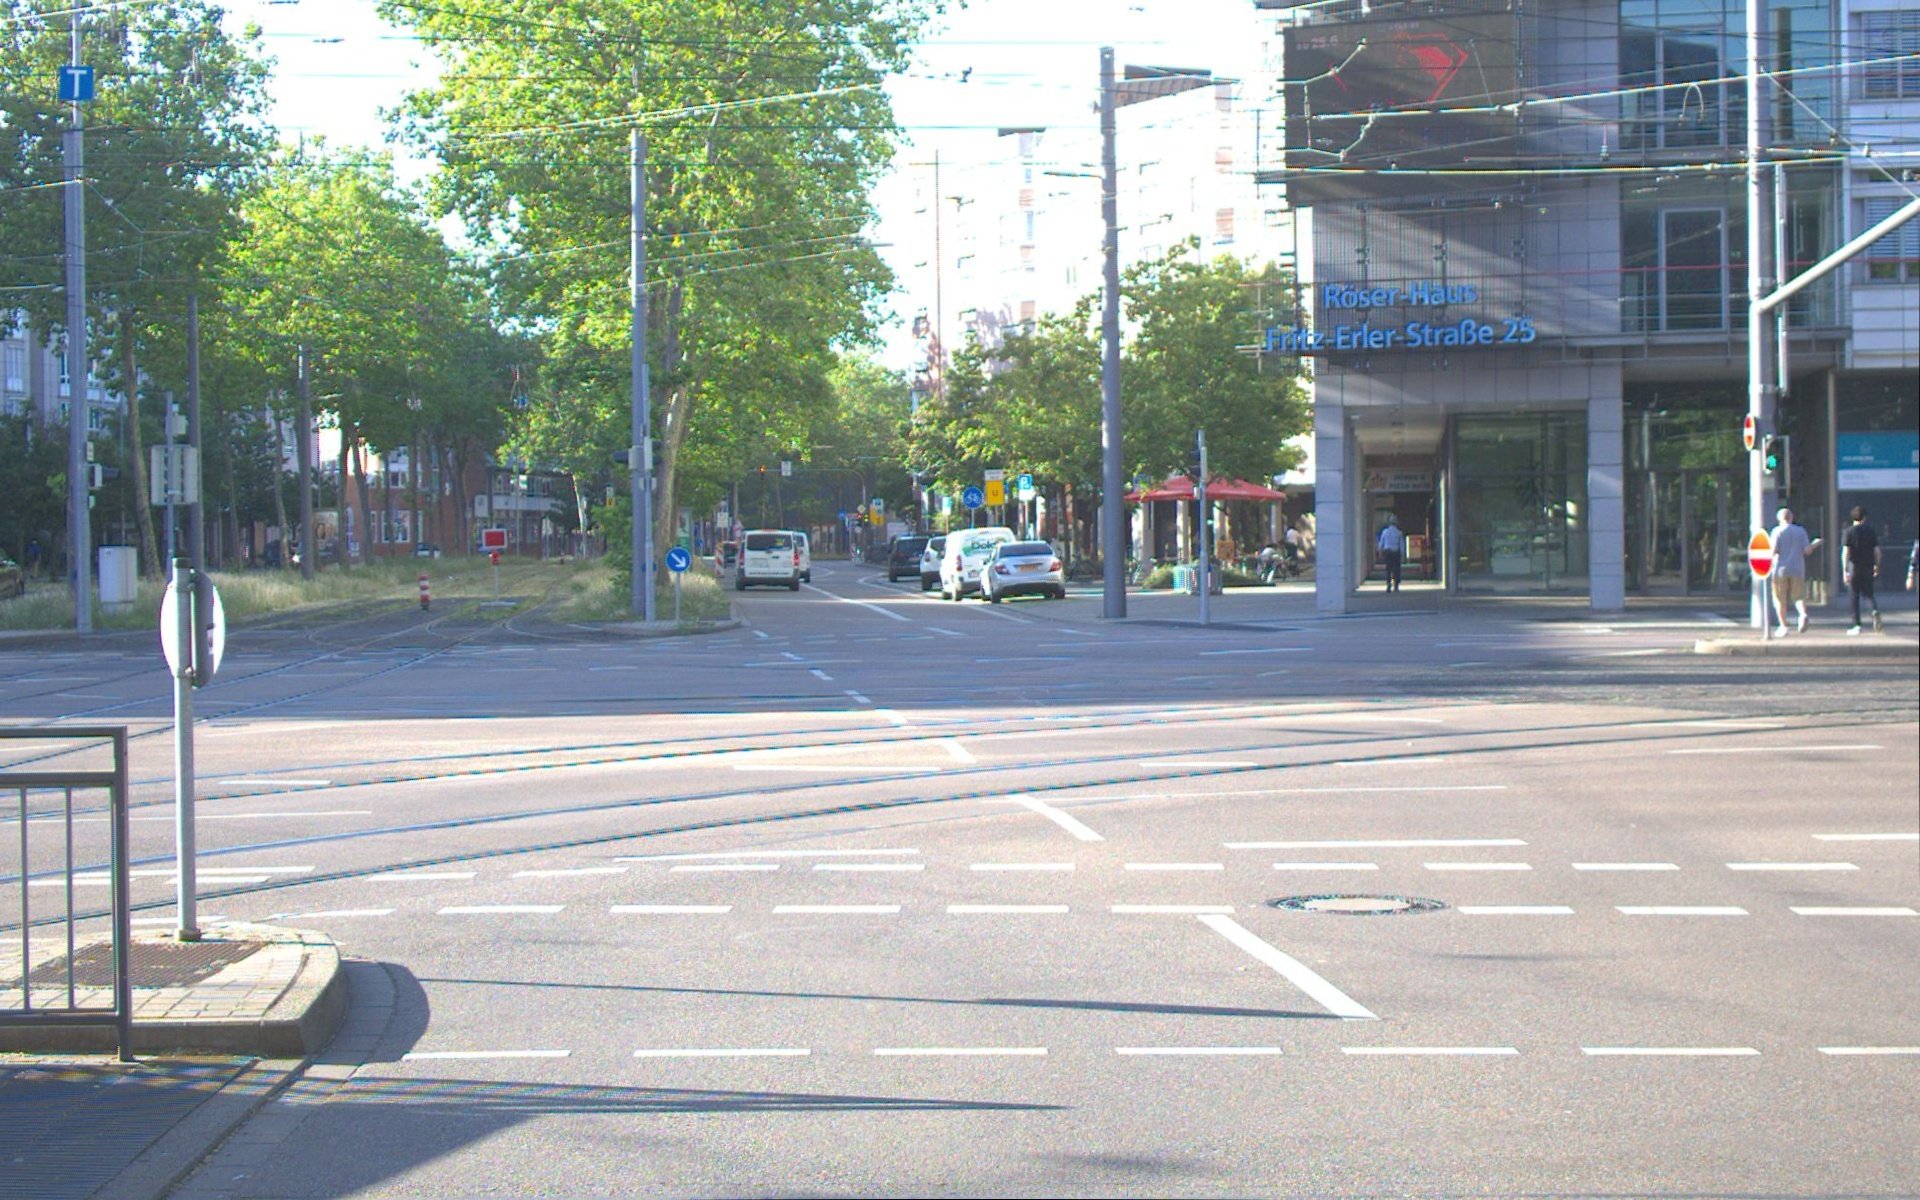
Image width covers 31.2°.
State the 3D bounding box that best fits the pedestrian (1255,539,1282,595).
[{"bbox_3d":[9.421,-1.005,104.913,0.744,1.708,0.612,-1,1,-1],"label":"pedestrian"}]

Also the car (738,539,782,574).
[{"bbox_3d":[-8.544,-1.848,147.327,1.797,1.437,4.000,1,1,-2],"label":"car"}]

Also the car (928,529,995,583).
[{"bbox_3d":[0.037,-1.361,105.210,1.993,1.612,4.000,-1,1,0],"label":"car"}]

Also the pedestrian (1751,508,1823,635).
[{"bbox_3d":[11.775,-0.404,48.957,0.864,1.782,0.871,-1,1,6],"label":"pedestrian"}]

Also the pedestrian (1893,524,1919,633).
[{"bbox_3d":[13.967,-0.320,49.404,0.948,1.558,0.897,-1,1,6],"label":"pedestrian"}]

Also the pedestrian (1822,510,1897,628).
[{"bbox_3d":[13.061,-0.459,49.938,0.912,1.679,1.035,-1,1,7],"label":"pedestrian"}]

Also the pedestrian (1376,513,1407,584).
[{"bbox_3d":[9.300,-1.113,74.116,0.612,1.502,0.579,-1,1,10],"label":"pedestrian"}]

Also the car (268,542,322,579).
[{"bbox_3d":[-33.941,-2.030,175.556,1.993,1.809,4.000,-1,1,-1],"label":"car"}]

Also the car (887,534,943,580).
[{"bbox_3d":[-1.641,-1.599,126.661,1.993,1.612,4.000,-1,1,0],"label":"car"}]

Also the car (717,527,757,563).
[{"bbox_3d":[-12.532,-3.101,193.532,1.993,2.007,4.000,-1,1,-1],"label":"car"}]

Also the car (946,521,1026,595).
[{"bbox_3d":[0.649,-1.097,89.565,1.993,1.853,4.000,-1,1,-1],"label":"car"}]

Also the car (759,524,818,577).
[{"bbox_3d":[-6.271,-1.826,126.071,1.993,1.905,4.000,-1,1,-1],"label":"car"}]

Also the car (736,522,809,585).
[{"bbox_3d":[-5.733,-1.436,105.430,1.961,1.842,5.330,-1,1,0],"label":"car"}]

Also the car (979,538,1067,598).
[{"bbox_3d":[1.493,-0.788,82.770,1.993,1.371,4.000,-1,1,-1],"label":"car"}]

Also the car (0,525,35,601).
[{"bbox_3d":[-21.665,-0.803,74.918,1.993,1.634,4.000,-1,1,-1],"label":"car"}]

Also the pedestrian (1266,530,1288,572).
[{"bbox_3d":[9.827,-1.516,106.600,0.577,1.284,0.910,-1,1,-1],"label":"pedestrian"}]
